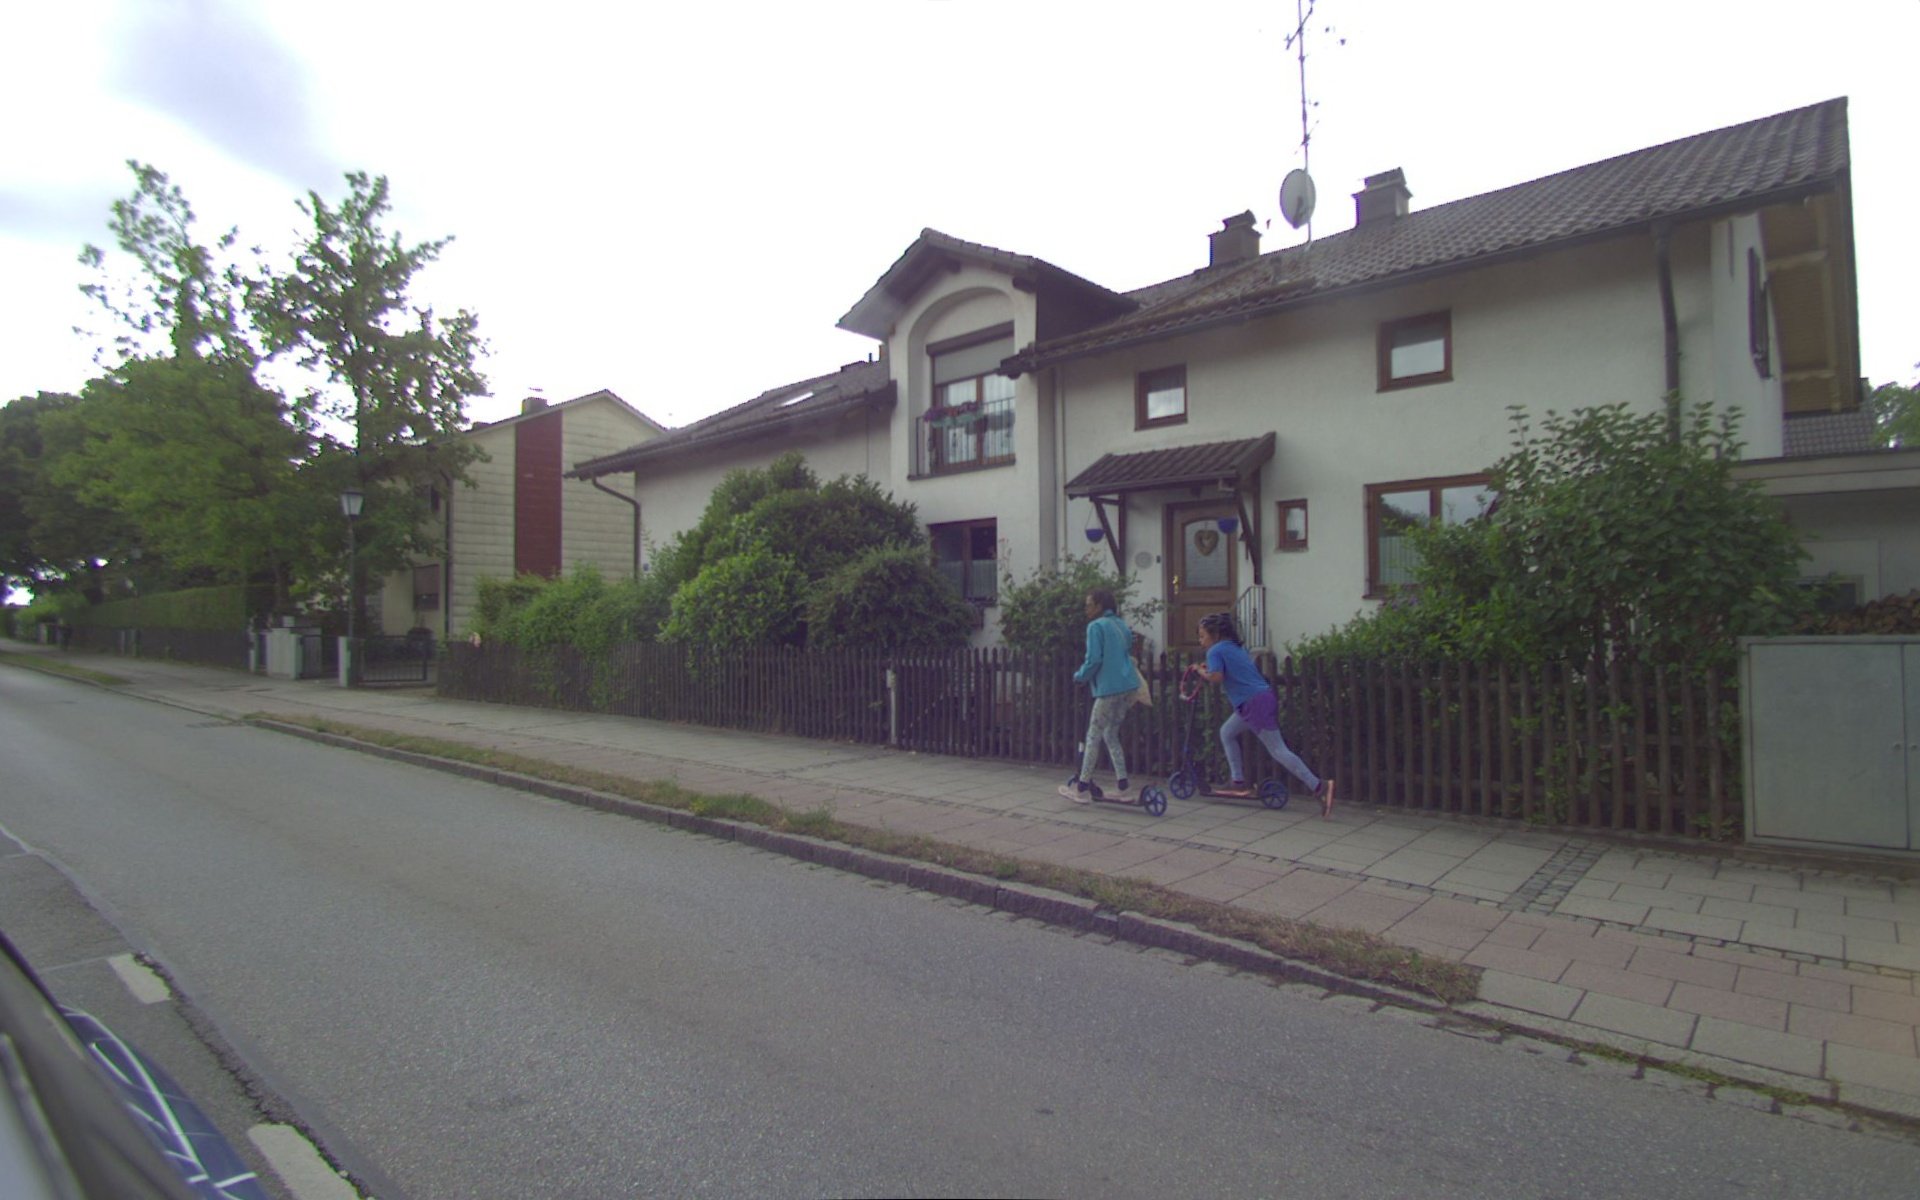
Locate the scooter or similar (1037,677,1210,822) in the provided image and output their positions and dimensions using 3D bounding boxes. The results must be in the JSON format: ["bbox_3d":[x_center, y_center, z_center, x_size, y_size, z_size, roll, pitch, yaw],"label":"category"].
[{"bbox_3d":[1.109,0.988,6.951,1.061,0.856,0.516,-2,-1,42],"label":"scooter or similar"}]

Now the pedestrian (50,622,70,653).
[{"bbox_3d":[-42.508,1.781,47.791,0.563,1.448,0.622,-2,-2,41],"label":"pedestrian"}]

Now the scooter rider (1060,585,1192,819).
[{"bbox_3d":[1.131,0.660,6.920,0.716,1.501,0.497,-2,-2,43],"label":"scooter rider"}]

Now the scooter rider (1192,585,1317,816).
[{"bbox_3d":[2.023,0.652,6.950,0.580,1.484,0.655,-2,-2,42],"label":"scooter rider"}]

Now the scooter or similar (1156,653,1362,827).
[{"bbox_3d":[2.033,0.903,6.939,1.178,1.045,0.654,-2,-2,43],"label":"scooter or similar"}]
